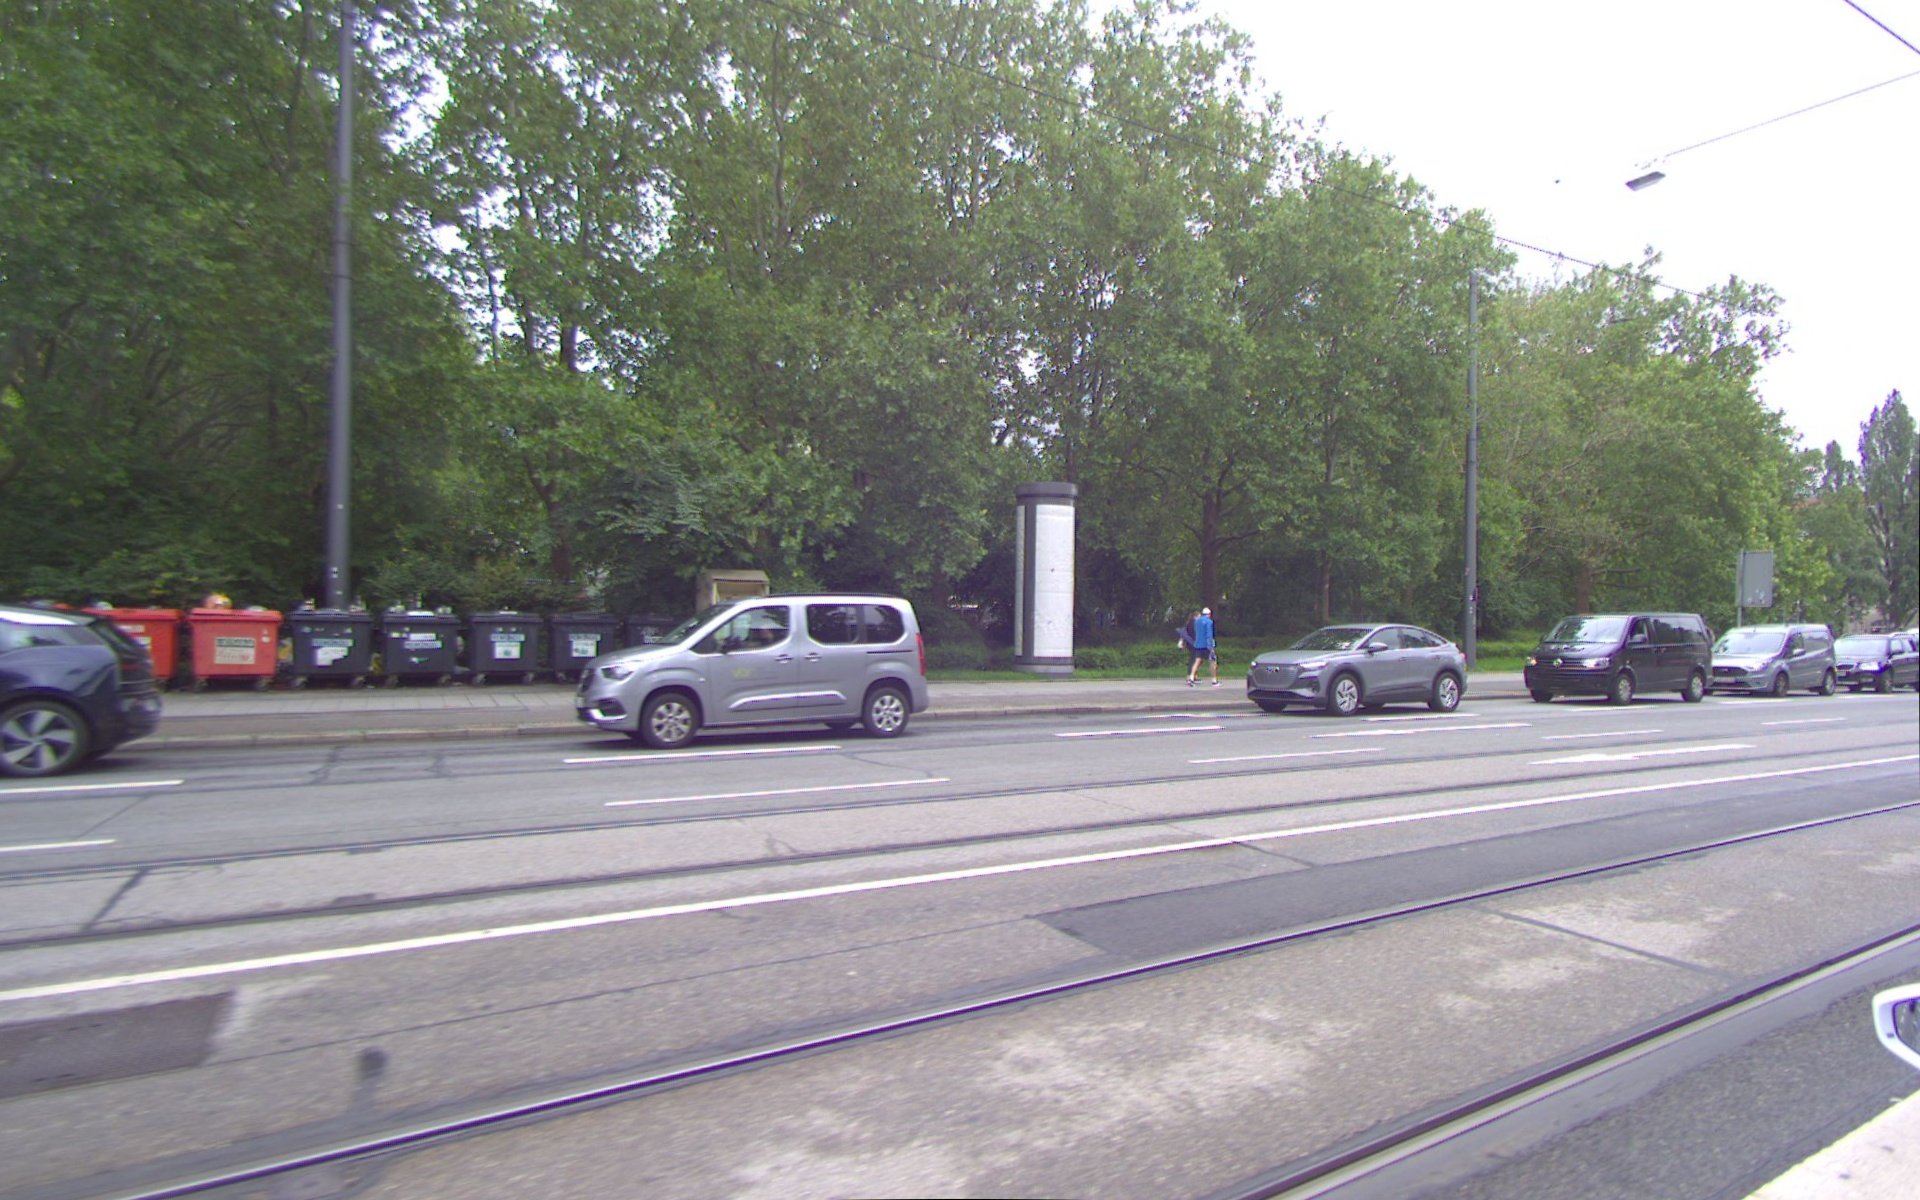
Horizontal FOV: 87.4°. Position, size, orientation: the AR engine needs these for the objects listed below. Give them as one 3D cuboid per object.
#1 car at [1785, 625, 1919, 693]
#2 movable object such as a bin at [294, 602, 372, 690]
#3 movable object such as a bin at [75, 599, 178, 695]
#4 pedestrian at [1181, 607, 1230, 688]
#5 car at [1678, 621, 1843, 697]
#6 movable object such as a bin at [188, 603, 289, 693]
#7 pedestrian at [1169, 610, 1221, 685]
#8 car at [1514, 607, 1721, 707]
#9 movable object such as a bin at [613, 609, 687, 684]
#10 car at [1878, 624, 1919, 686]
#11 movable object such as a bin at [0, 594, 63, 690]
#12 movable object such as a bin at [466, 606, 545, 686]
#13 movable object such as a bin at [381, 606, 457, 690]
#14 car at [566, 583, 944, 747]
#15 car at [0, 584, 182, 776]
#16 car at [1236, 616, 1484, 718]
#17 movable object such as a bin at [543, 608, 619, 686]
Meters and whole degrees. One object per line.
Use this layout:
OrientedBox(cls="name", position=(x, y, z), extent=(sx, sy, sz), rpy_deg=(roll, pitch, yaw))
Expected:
OrientedBox(cls="car", position=(25.562, 1.658, 28.553), extent=(4.465, 1.812, 1.791), rpy_deg=(2, -3, -30))
OrientedBox(cls="movable object such as a bin", position=(-10.634, 0.768, 17.039), extent=(1.072, 1.371, 0.928), rpy_deg=(2, 4, -34))
OrientedBox(cls="movable object such as a bin", position=(-12.868, 0.709, 15.549), extent=(1.117, 1.371, 0.928), rpy_deg=(2, 2, -34))
OrientedBox(cls="pedestrian", position=(5.636, 1.079, 23.086), extent=(0.806, 1.813, 0.663), rpy_deg=(2, 0, -21))
OrientedBox(cls="car", position=(20.623, 1.502, 25.860), extent=(4.465, 1.812, 1.791), rpy_deg=(2, -3, -30))
OrientedBox(cls="movable object such as a bin", position=(-11.686, 0.765, 16.321), extent=(1.265, 1.371, 0.928), rpy_deg=(2, 1, -34))
OrientedBox(cls="pedestrian", position=(5.489, 1.100, 23.471), extent=(0.973, 1.707, 0.663), rpy_deg=(0, 1, -21))
OrientedBox(cls="car", position=(14.598, 1.225, 22.231), extent=(4.979, 2.017, 1.791), rpy_deg=(2, -2, -30))
OrientedBox(cls="movable object such as a bin", position=(-6.054, 0.892, 19.600), extent=(1.147, 1.371, 0.928), rpy_deg=(2, 2, -34))
OrientedBox(cls="car", position=(31.107, 1.738, 31.736), extent=(4.576, 1.885, 1.791), rpy_deg=(2, -3, -30))
OrientedBox(cls="movable object such as a bin", position=(-14.011, 0.597, 14.824), extent=(1.003, 1.371, 0.928), rpy_deg=(2, 0, -34))
OrientedBox(cls="movable object such as a bin", position=(-8.291, 0.820, 18.302), extent=(1.147, 1.371, 0.928), rpy_deg=(2, 2, -34))
OrientedBox(cls="movable object such as a bin", position=(-9.514, 0.827, 17.662), extent=(1.072, 1.371, 0.928), rpy_deg=(2, 2, -34))
OrientedBox(cls="car", position=(-2.567, 0.786, 12.910), extent=(4.419, 1.803, 1.791), rpy_deg=(2, -2, -30))
OrientedBox(cls="car", position=(-9.914, 0.690, 9.062), extent=(4.303, 1.689, 1.791), rpy_deg=(2, -2, -30))
OrientedBox(cls="car", position=(7.354, 1.174, 18.356), extent=(4.534, 1.656, 1.791), rpy_deg=(2, -2, -30))
OrientedBox(cls="movable object such as a bin", position=(-7.154, 0.873, 18.948), extent=(1.147, 1.371, 0.928), rpy_deg=(2, 2, -34))
